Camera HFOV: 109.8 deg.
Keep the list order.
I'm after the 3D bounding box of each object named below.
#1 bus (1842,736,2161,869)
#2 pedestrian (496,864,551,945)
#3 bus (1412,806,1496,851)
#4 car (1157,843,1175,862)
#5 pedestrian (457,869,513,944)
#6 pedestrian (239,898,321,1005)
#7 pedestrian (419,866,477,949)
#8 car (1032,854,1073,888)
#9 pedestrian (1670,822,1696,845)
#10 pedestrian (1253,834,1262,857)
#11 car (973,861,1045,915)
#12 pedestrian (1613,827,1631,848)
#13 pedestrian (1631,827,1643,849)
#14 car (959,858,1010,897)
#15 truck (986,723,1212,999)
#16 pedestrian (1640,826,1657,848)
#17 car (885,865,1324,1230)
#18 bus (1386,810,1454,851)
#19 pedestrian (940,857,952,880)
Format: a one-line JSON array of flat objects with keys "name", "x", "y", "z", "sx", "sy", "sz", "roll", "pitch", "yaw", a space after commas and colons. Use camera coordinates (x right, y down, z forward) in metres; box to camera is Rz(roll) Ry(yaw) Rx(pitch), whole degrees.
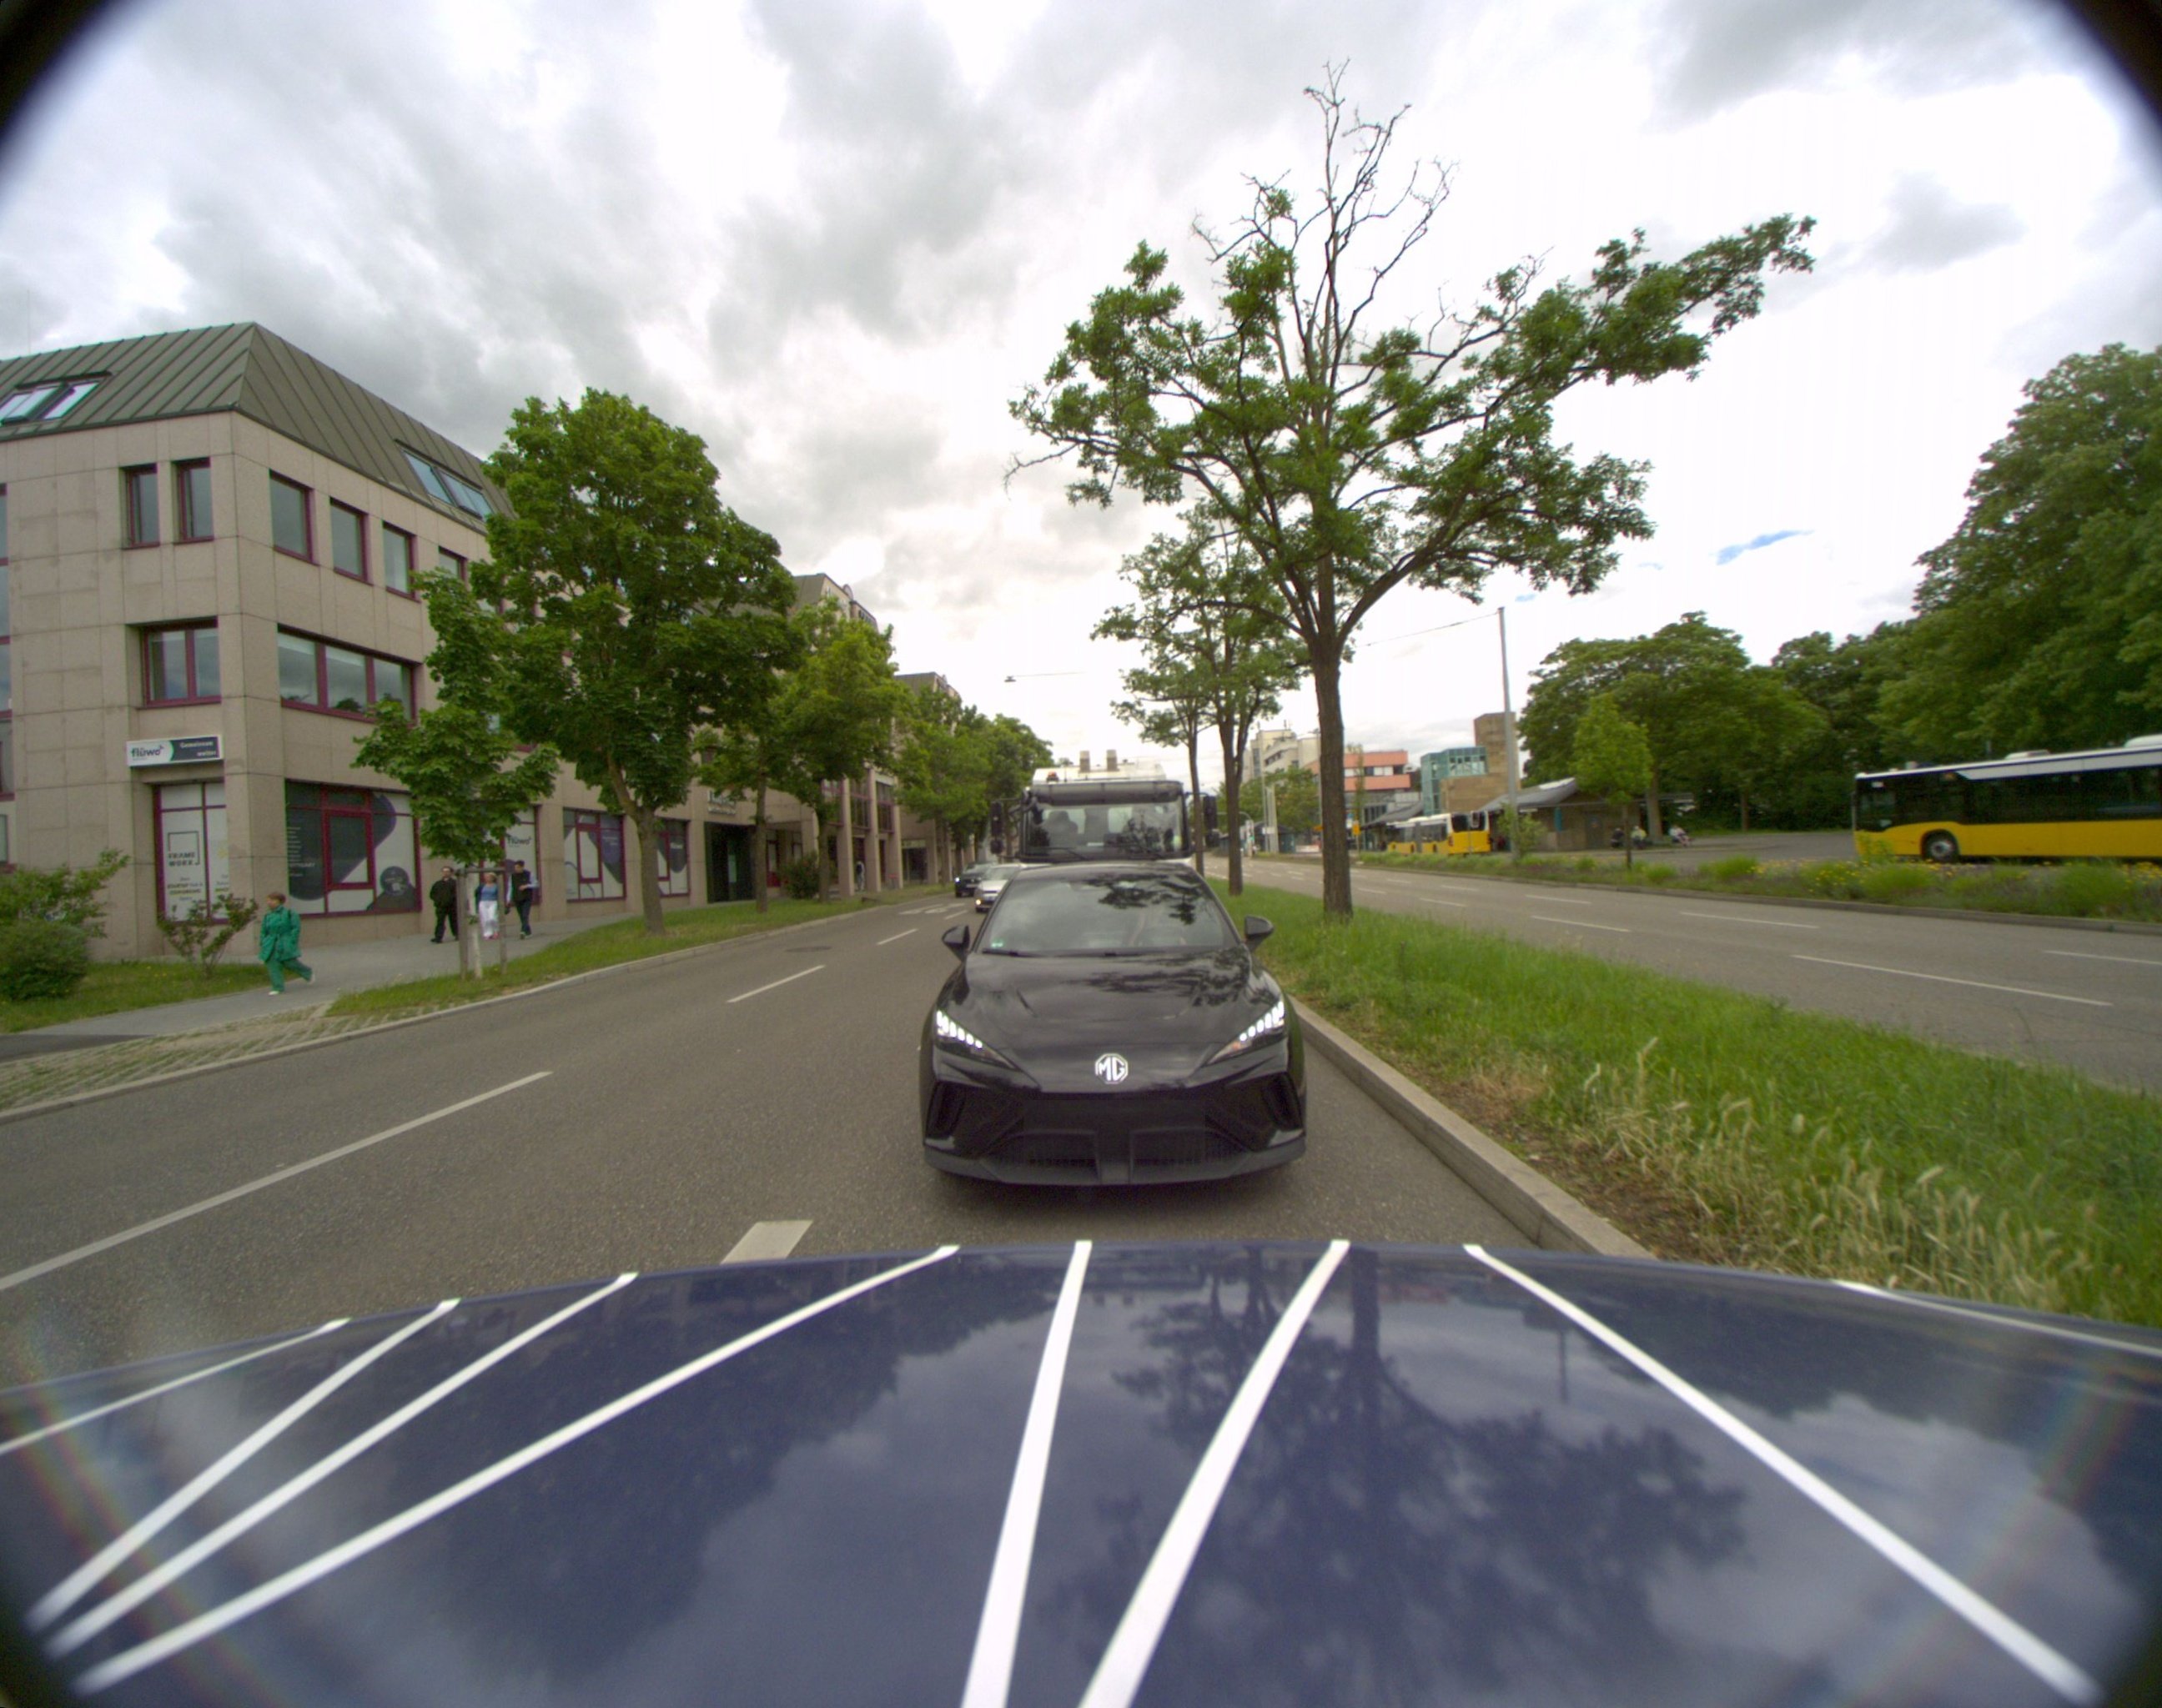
[{"name": "bus", "x": 25.934, "y": -1.233, "z": 19.614, "sx": 2.888, "sy": 2.985, "sz": 10.397, "roll": -3, "pitch": 0, "yaw": 6}, {"name": "pedestrian", "x": -12.797, "y": 1.136, "z": 17.456, "sx": 0.642, "sy": 1.795, "sz": 0.677, "roll": -3, "pitch": 1, "yaw": 1}, {"name": "bus", "x": 26.050, "y": -1.676, "z": 53.607, "sx": 2.887, "sy": 2.793, "sz": 9.182, "roll": -3, "pitch": 0, "yaw": 11}, {"name": "car", "x": 9.449, "y": -0.149, "z": 84.905, "sx": 1.726, "sy": 2.002, "sz": 4.001, "roll": -3, "pitch": 0, "yaw": 3}, {"name": "pedestrian", "x": -13.597, "y": 1.194, "z": 17.346, "sx": 0.642, "sy": 1.637, "sz": 0.677, "roll": -3, "pitch": 1, "yaw": 1}, {"name": "pedestrian", "x": -11.997, "y": 1.441, "z": 11.402, "sx": 0.496, "sy": 1.510, "sz": 0.677, "roll": 0, "pitch": 1, "yaw": 1}, {"name": "pedestrian", "x": -14.286, "y": 1.196, "z": 17.158, "sx": 0.642, "sy": 1.795, "sz": 0.677, "roll": -3, "pitch": 1, "yaw": 1}, {"name": "car", "x": -1.428, "y": 0.837, "z": 39.707, "sx": 1.859, "sy": 1.586, "sz": 4.313, "roll": -2, "pitch": 0, "yaw": 1}, {"name": "pedestrian", "x": 31.961, "y": -1.076, "z": 40.355, "sx": 0.650, "sy": 1.165, "sz": 0.925, "roll": -2, "pitch": 1, "yaw": 1}, {"name": "pedestrian", "x": 21.559, "y": -1.020, "z": 92.721, "sx": 0.903, "sy": 2.772, "sz": 1.148, "roll": -2, "pitch": 1, "yaw": 13}, {"name": "car", "x": -2.184, "y": 1.002, "z": 23.880, "sx": 1.609, "sy": 1.460, "sz": 3.676, "roll": -3, "pitch": 0, "yaw": 4}, {"name": "pedestrian", "x": 30.726, "y": -0.925, "z": 43.171, "sx": 0.598, "sy": 1.155, "sz": 0.743, "roll": -2, "pitch": 1, "yaw": 19}, {"name": "pedestrian", "x": 30.217, "y": -0.884, "z": 41.296, "sx": 0.367, "sy": 1.160, "sz": 0.899, "roll": -2, "pitch": 1, "yaw": 26}, {"name": "car", "x": -4.211, "y": 0.994, "z": 33.818, "sx": 1.661, "sy": 1.504, "sz": 3.999, "roll": -2, "pitch": 1, "yaw": 1}, {"name": "truck", "x": 0.327, "y": 0.082, "z": 12.750, "sx": 2.544, "sy": 3.187, "sz": 7.369, "roll": -3, "pitch": 0, "yaw": 2}, {"name": "pedestrian", "x": 30.629, "y": -0.897, "z": 41.011, "sx": 0.598, "sy": 1.155, "sz": 0.744, "roll": -2, "pitch": 1, "yaw": 26}, {"name": "car", "x": 0.128, "y": 0.867, "z": 5.277, "sx": 1.827, "sy": 1.430, "sz": 4.000, "roll": -3, "pitch": 0, "yaw": 1}, {"name": "bus", "x": 27.541, "y": -1.844, "z": 62.194, "sx": 2.887, "sy": 2.985, "sz": 9.182, "roll": -3, "pitch": 0, "yaw": 10}, {"name": "pedestrian", "x": -11.018, "y": 1.168, "z": 62.107, "sx": 0.719, "sy": 1.811, "sz": 0.949, "roll": -2, "pitch": 1, "yaw": 1}]
